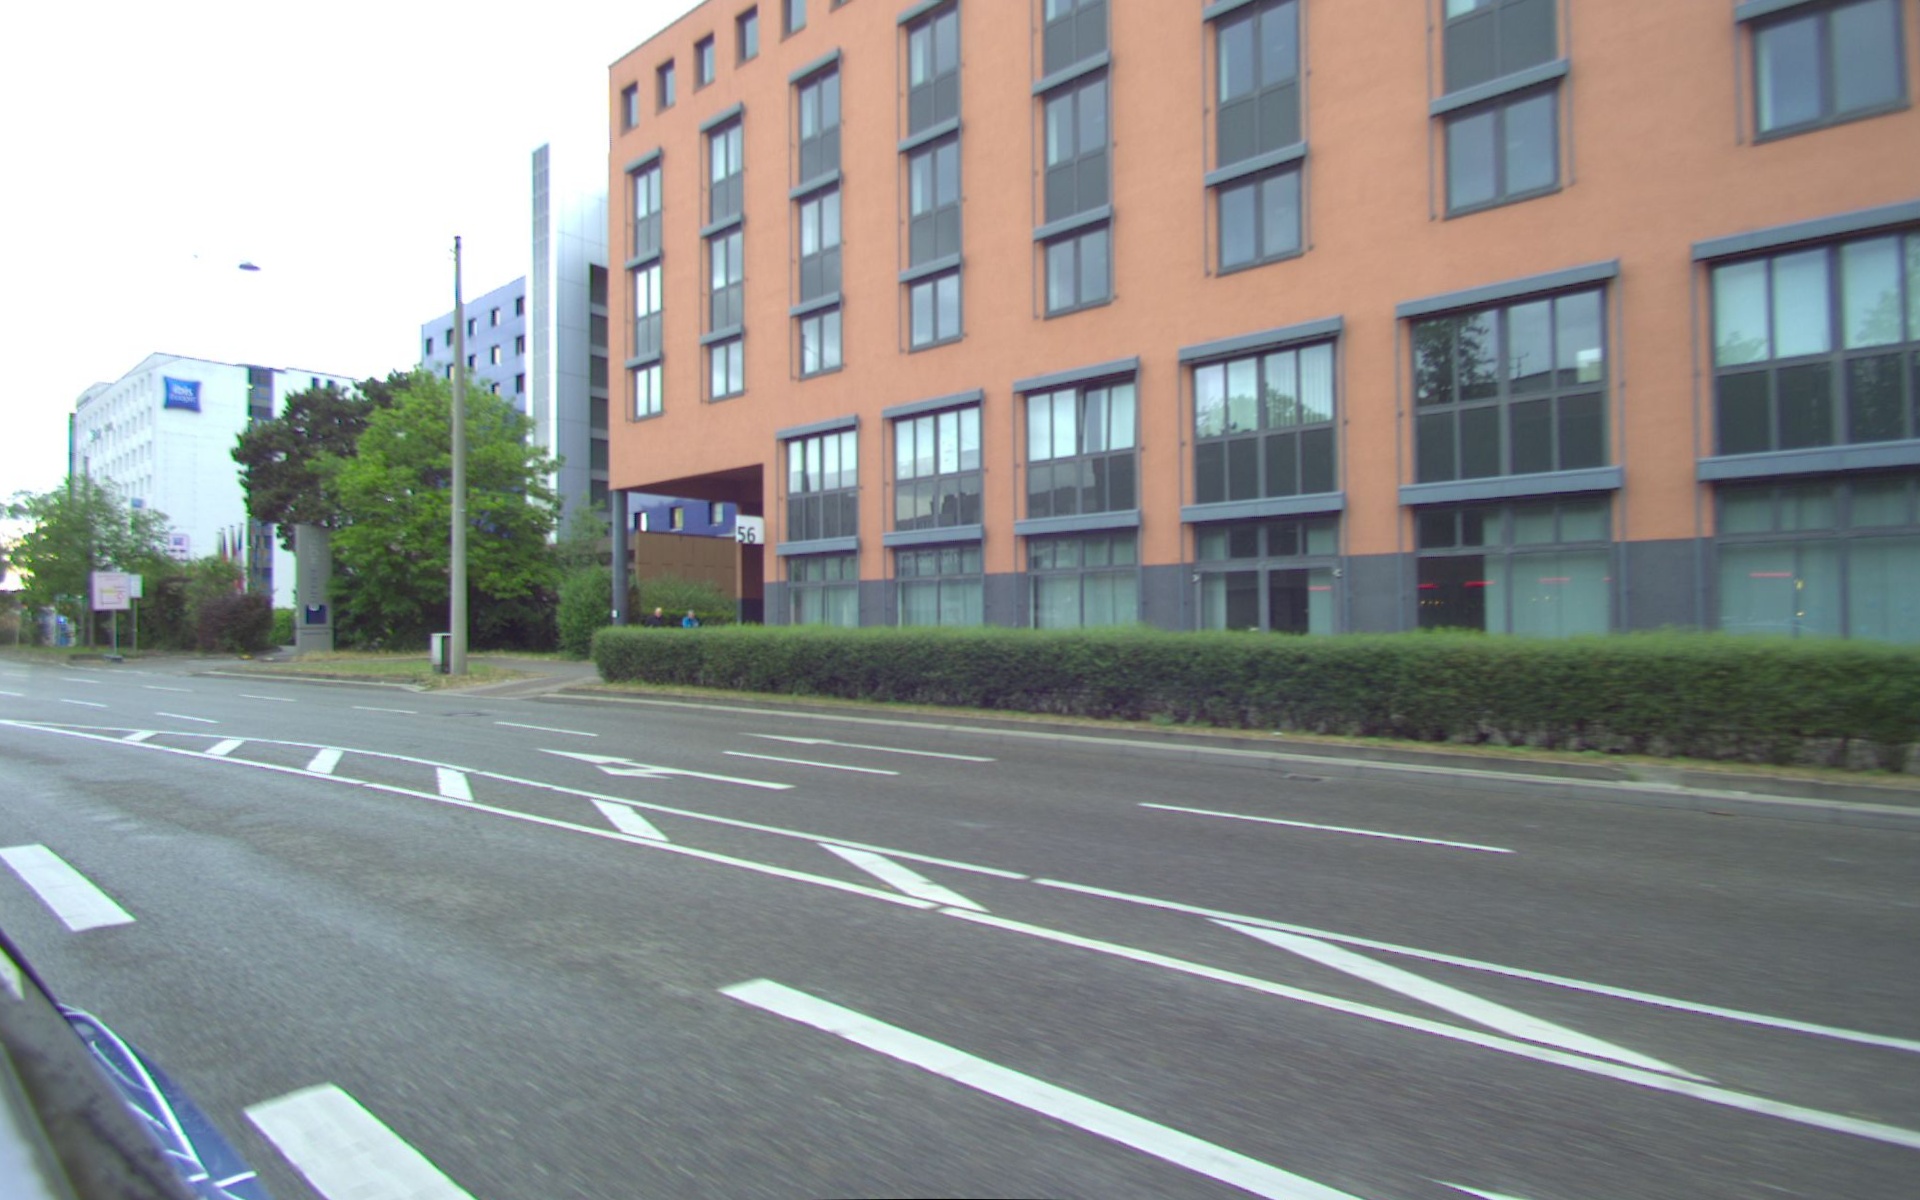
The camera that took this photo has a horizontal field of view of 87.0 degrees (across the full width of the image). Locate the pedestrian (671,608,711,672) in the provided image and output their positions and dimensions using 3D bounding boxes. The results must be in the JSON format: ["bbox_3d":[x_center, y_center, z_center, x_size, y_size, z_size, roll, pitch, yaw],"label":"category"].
[{"bbox_3d":[-8.016,1.168,30.127,0.885,1.855,0.738,-2,-1,40],"label":"pedestrian"}]

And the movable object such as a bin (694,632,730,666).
[{"bbox_3d":[-9.410,1.859,38.393,1.208,1.257,0.773,-2,-2,36],"label":"movable object such as a bin"}]

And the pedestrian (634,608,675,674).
[{"bbox_3d":[-8.834,1.163,29.236,0.885,1.855,0.738,-2,-1,40],"label":"pedestrian"}]
